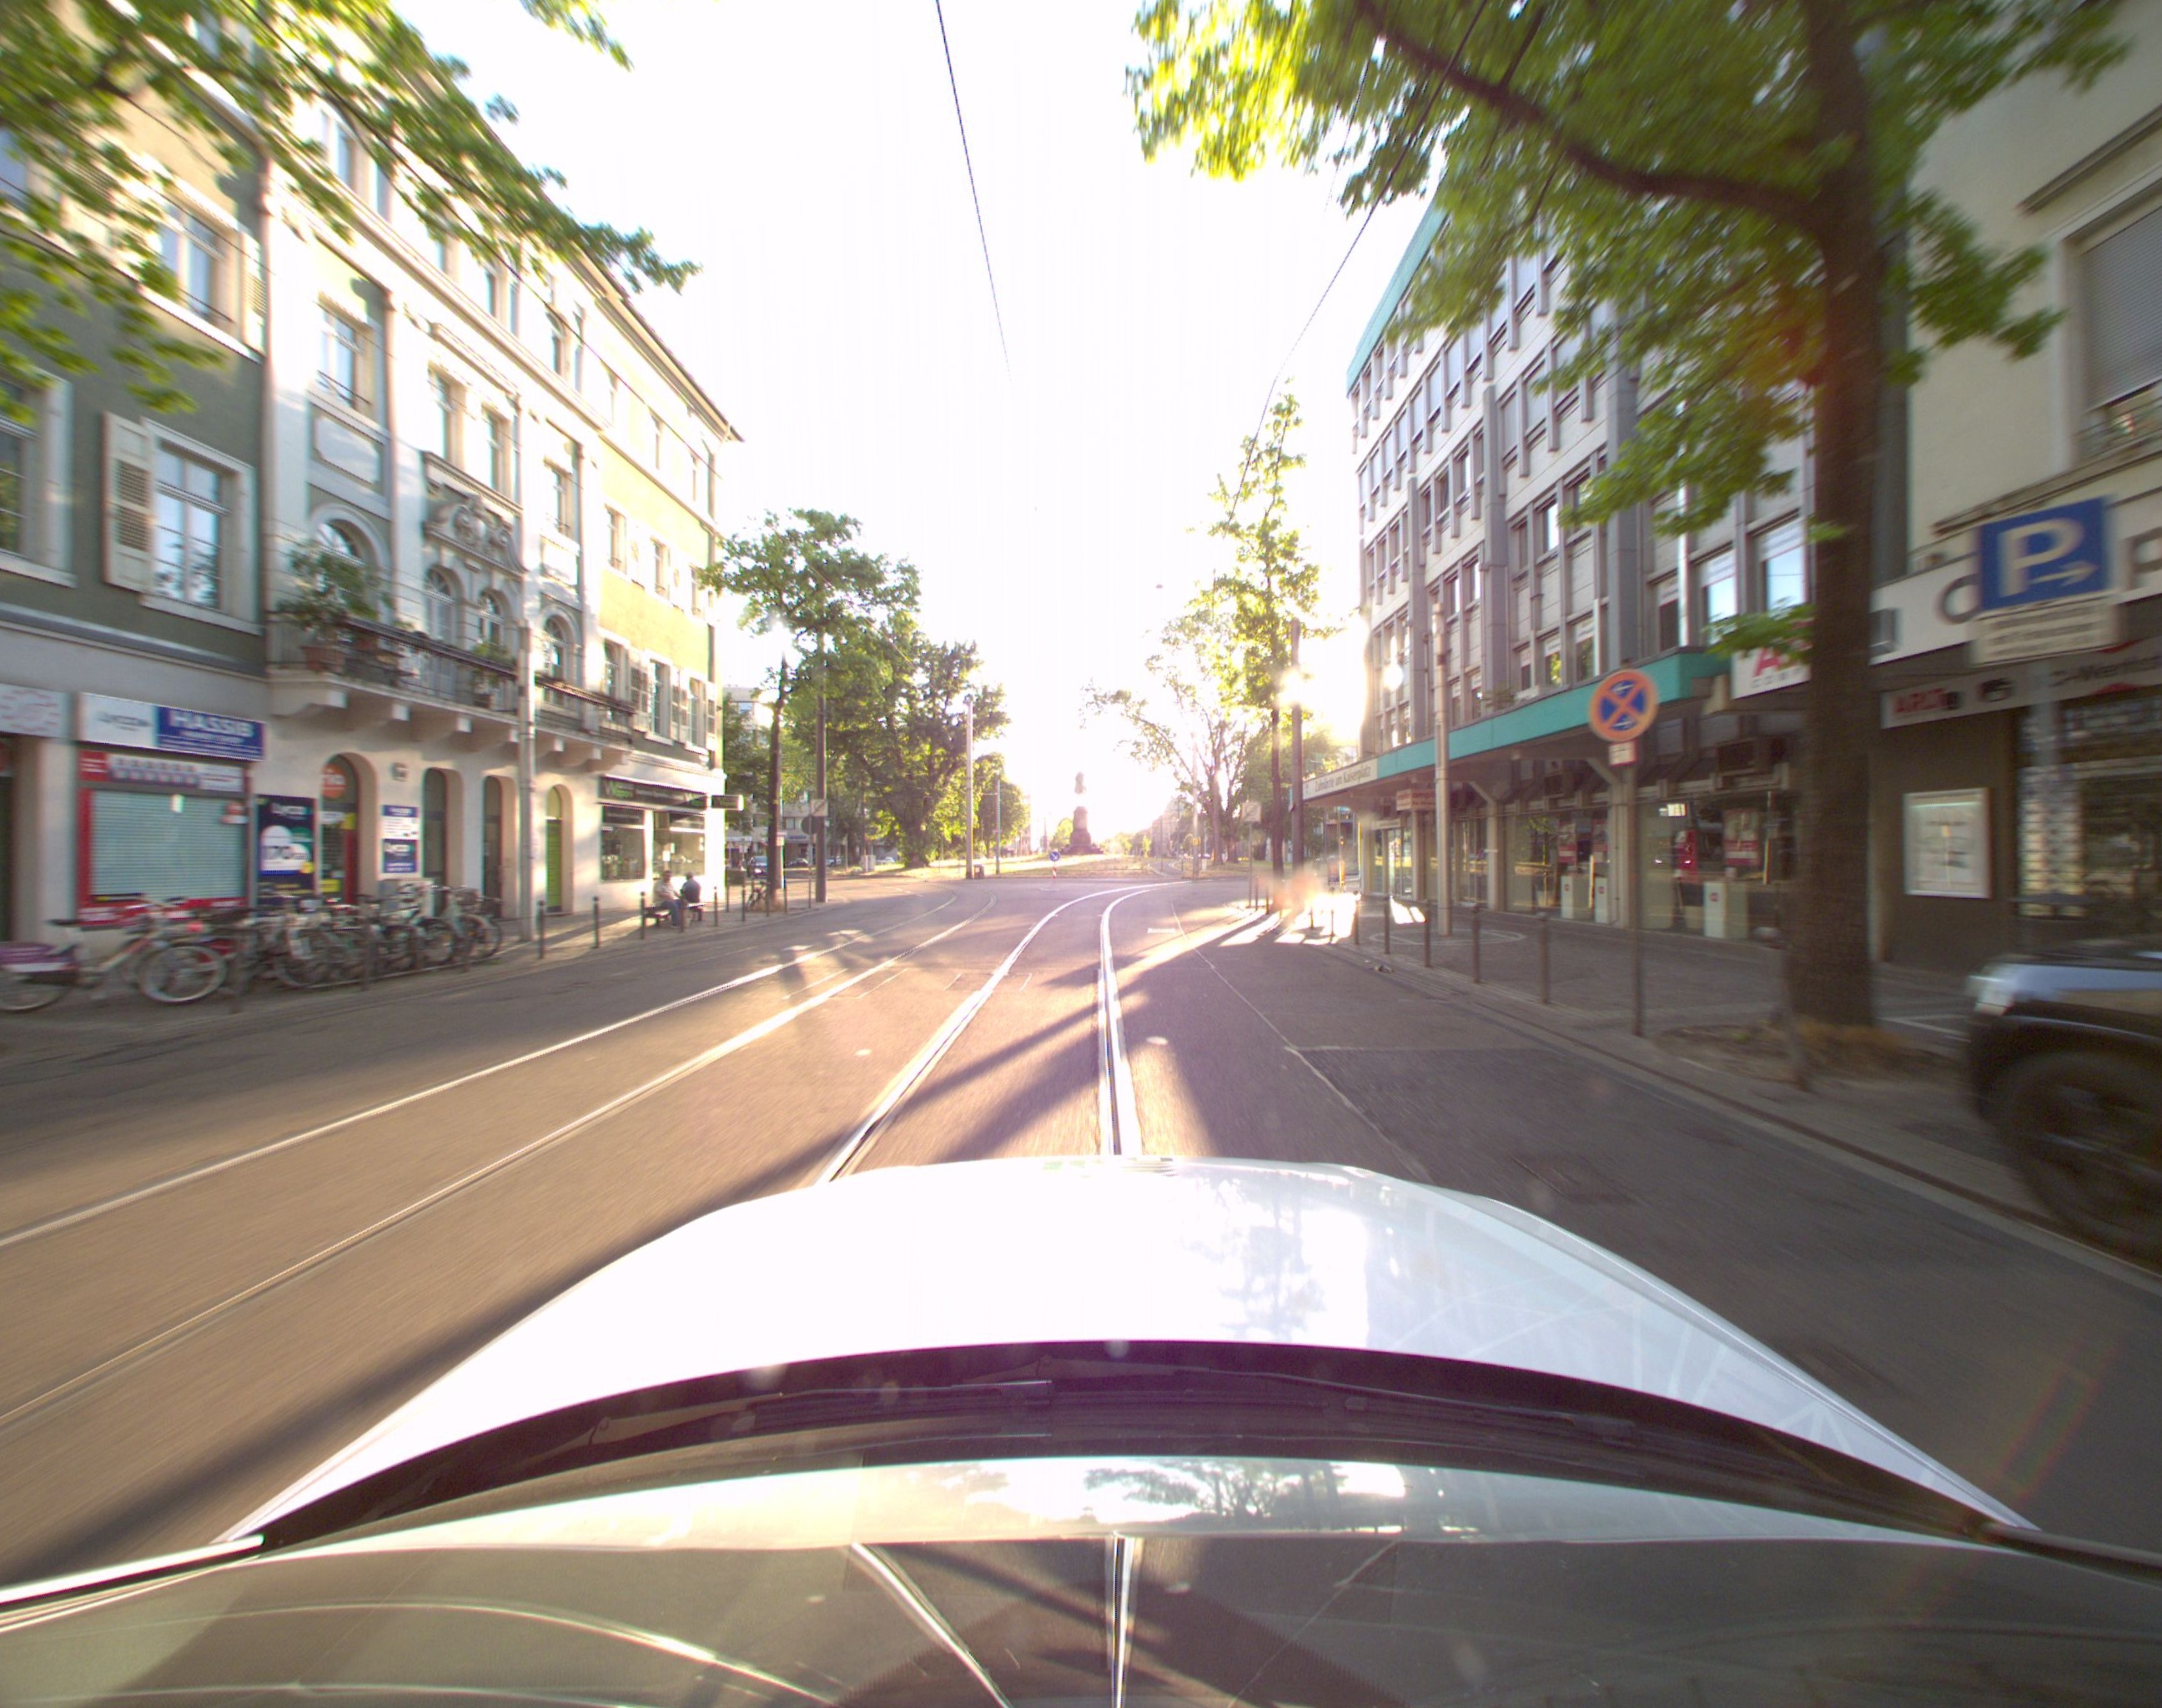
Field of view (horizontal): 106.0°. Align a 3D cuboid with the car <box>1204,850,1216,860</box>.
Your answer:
[{"bbox_3d":[27.399,0.185,173.254,2.131,2.013,4.001,0,0,1],"label":"car"}]

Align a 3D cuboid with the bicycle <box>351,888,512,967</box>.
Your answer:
[{"bbox_3d":[-9.689,1.087,12.178,2.015,1.105,0.501,1,-1,3],"label":"bicycle"}]

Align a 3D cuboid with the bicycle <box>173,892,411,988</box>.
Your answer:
[{"bbox_3d":[-9.702,1.033,10.113,2.033,1.105,0.497,1,-1,-25],"label":"bicycle"}]

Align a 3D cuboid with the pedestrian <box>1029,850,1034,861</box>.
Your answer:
[{"bbox_3d":[-7.515,0.228,123.354,0.768,1.606,0.637,-1,0,-6],"label":"pedestrian"}]

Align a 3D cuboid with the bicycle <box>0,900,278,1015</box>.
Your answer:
[{"bbox_3d":[-9.958,1.048,8.628,1.954,1.105,0.563,1,-1,-24],"label":"bicycle"}]

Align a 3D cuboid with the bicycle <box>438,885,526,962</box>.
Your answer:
[{"bbox_3d":[-9.624,1.082,13.049,2.004,1.105,0.504,0,-1,36],"label":"bicycle"}]

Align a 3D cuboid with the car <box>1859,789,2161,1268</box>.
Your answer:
[{"bbox_3d":[4.893,0.590,1.743,1.931,1.759,4.680,-4,0,1],"label":"car"}]

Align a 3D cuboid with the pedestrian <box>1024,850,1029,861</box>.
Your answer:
[{"bbox_3d":[-8.284,0.238,123.849,0.768,1.606,0.637,-1,0,-6],"label":"pedestrian"}]

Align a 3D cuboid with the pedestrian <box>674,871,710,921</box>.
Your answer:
[{"bbox_3d":[-9.602,1.033,20.116,0.589,1.194,0.641,0,0,-2],"label":"pedestrian"}]

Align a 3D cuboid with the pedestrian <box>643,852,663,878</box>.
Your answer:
[{"bbox_3d":[-23.807,0.609,45.260,0.762,1.410,0.750,-1,0,43],"label":"pedestrian"}]

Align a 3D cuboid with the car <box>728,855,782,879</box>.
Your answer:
[{"bbox_3d":[-24.478,0.950,61.171,4.303,1.676,1.982,0,0,41],"label":"car"}]

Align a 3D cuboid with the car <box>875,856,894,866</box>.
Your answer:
[{"bbox_3d":[-32.176,1.136,133.324,1.869,1.420,3.929,-1,0,3],"label":"car"}]

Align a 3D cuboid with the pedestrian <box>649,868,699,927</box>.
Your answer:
[{"bbox_3d":[-9.220,0.974,18.474,0.726,1.290,0.856,0,0,-2],"label":"pedestrian"}]

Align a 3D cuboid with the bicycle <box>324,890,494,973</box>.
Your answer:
[{"bbox_3d":[-9.539,1.088,11.591,2.015,1.105,0.501,1,-1,3],"label":"bicycle"}]

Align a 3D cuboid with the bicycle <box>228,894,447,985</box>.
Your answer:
[{"bbox_3d":[-9.695,1.090,10.712,2.033,1.105,0.497,1,-1,-25],"label":"bicycle"}]

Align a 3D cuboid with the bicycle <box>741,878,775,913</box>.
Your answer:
[{"bbox_3d":[-9.418,1.193,23.779,0.335,0.946,1.510,-1,0,2],"label":"bicycle"}]

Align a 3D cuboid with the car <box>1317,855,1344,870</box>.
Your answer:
[{"bbox_3d":[34.072,1.110,111.365,1.993,1.969,3.988,-1,0,-9],"label":"car"}]

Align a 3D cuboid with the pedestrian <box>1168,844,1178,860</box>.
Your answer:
[{"bbox_3d":[9.245,-0.164,82.103,0.776,1.606,0.630,-1,0,-42],"label":"pedestrian"}]

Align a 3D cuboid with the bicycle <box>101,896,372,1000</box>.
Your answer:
[{"bbox_3d":[-9.729,1.052,9.487,2.118,1.105,0.497,1,-1,-25],"label":"bicycle"}]
